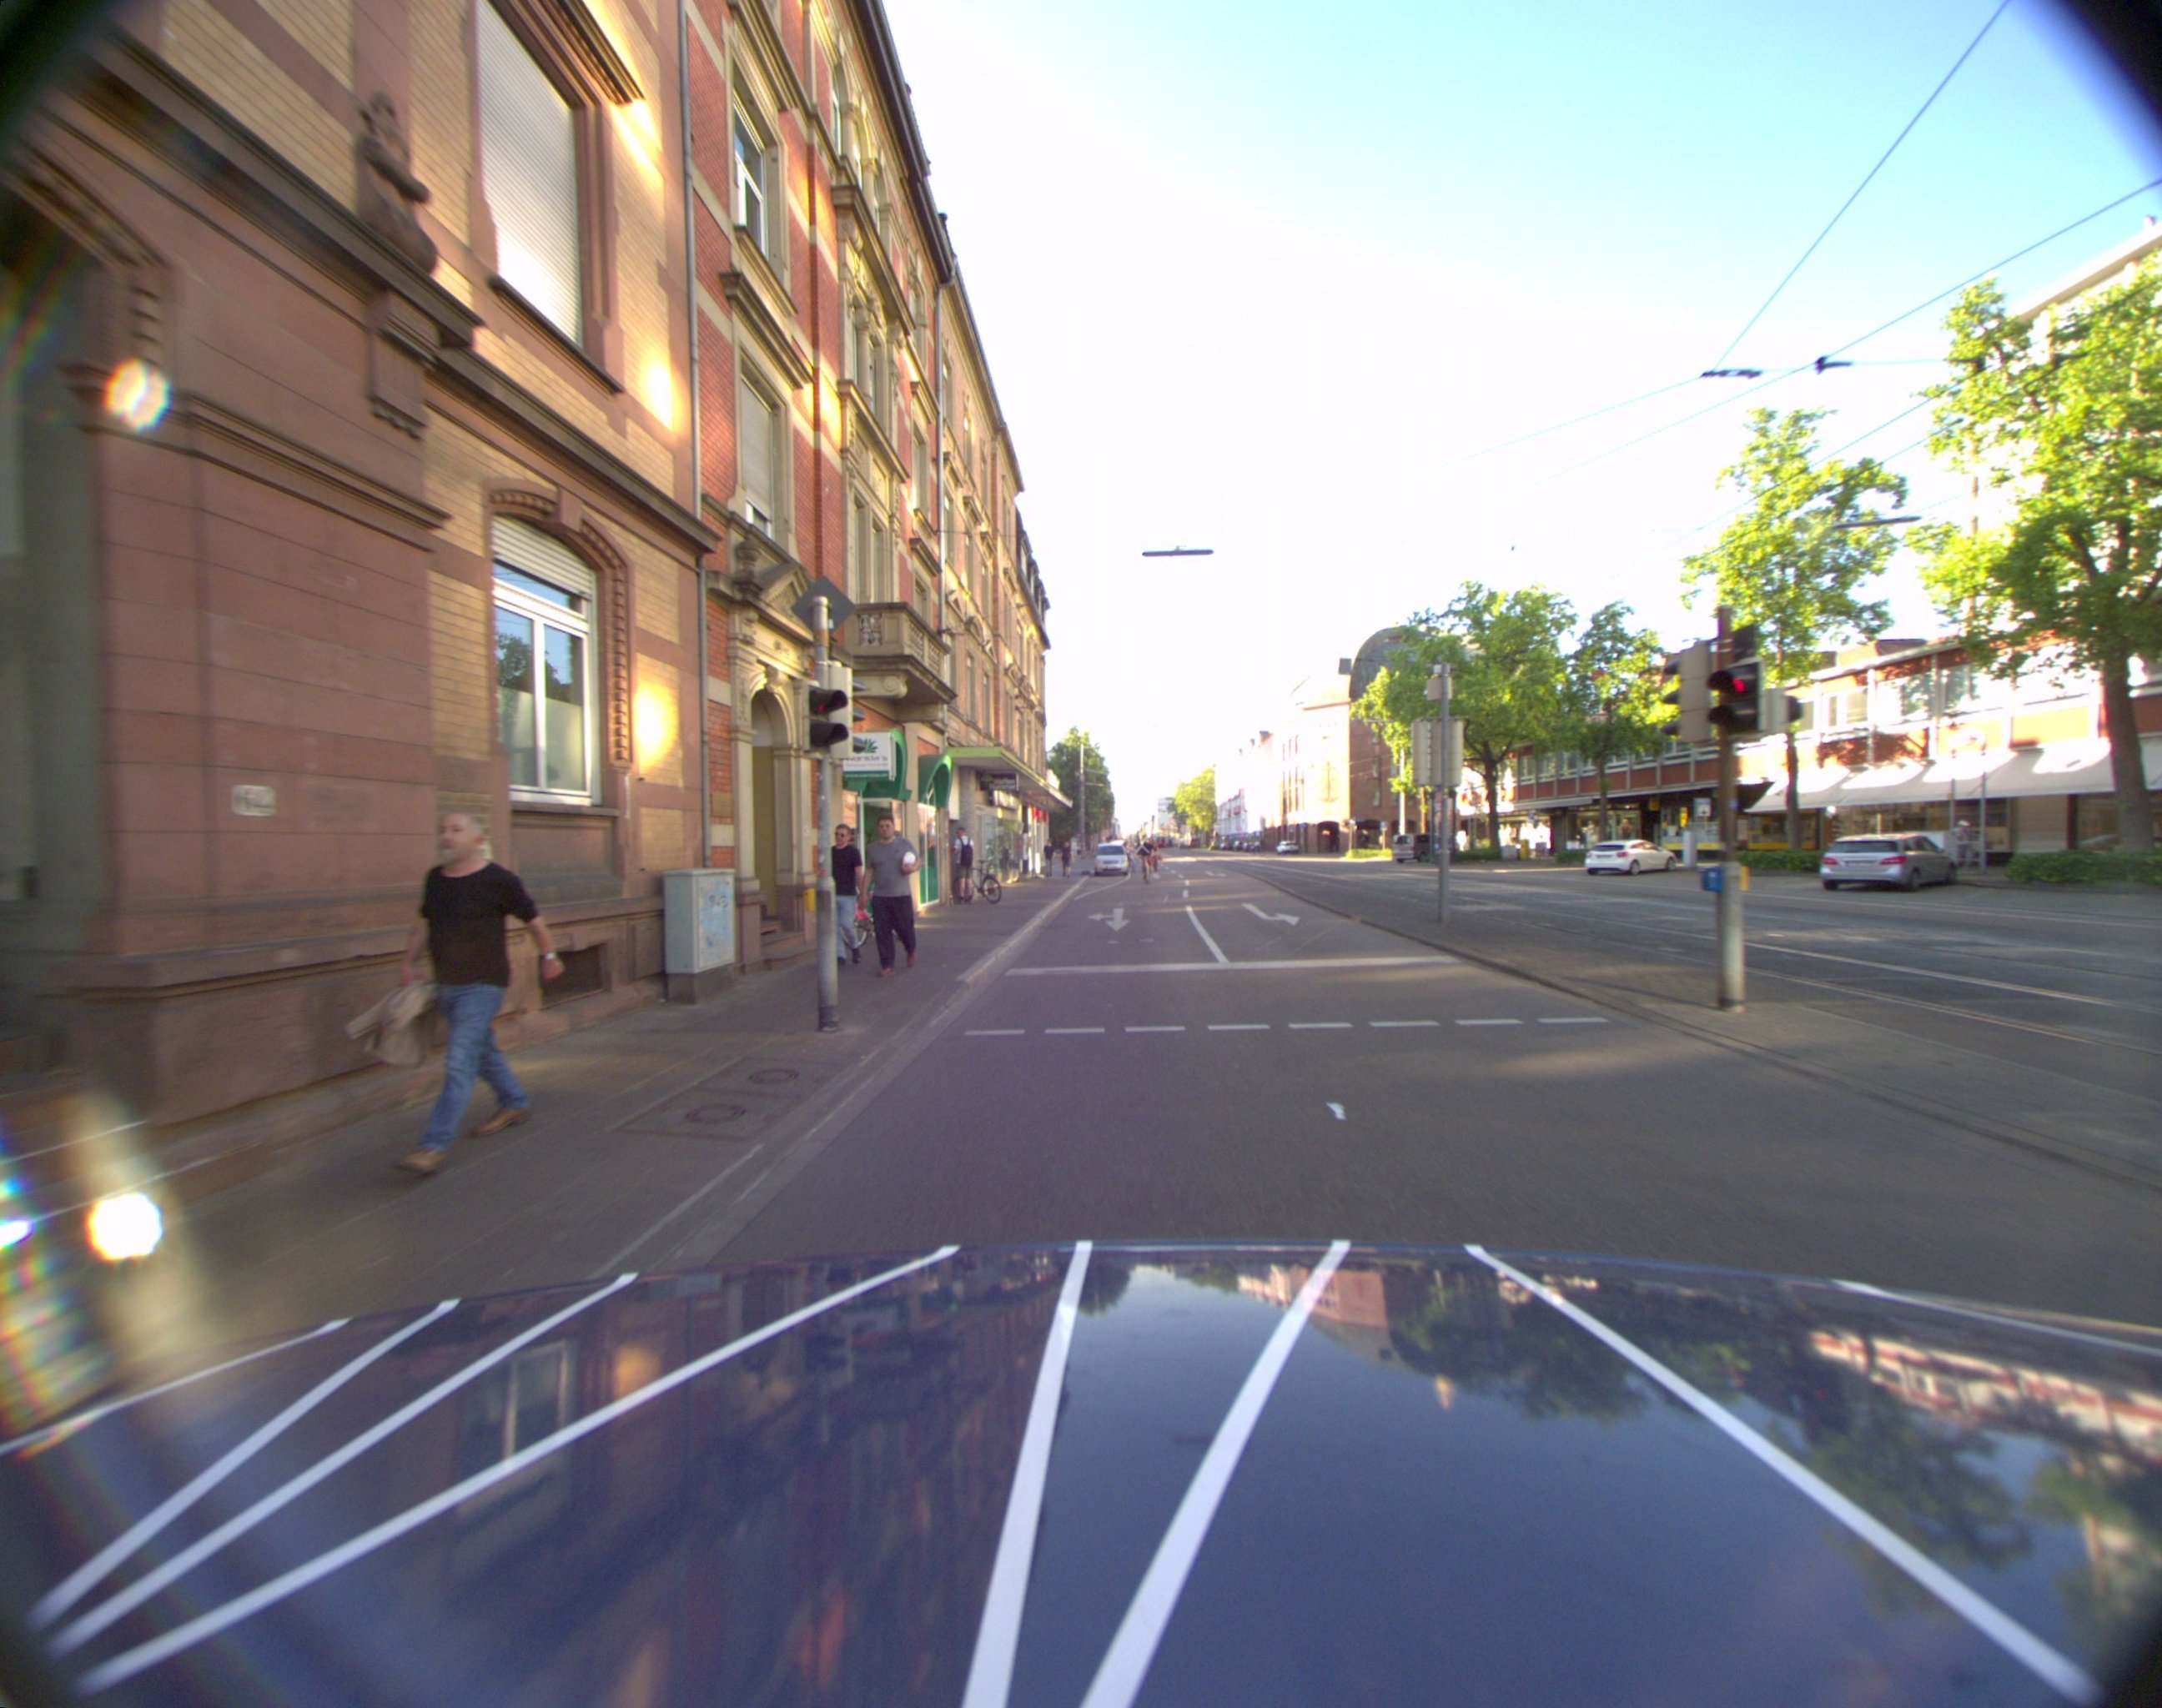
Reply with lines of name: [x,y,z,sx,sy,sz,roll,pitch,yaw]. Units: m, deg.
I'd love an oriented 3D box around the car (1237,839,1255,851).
car: [25.222,-1.396,116.377,1.964,1.594,3.999,-2,1,2]

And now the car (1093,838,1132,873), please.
car: [1.672,0.051,39.002,1.670,1.674,4.001,-1,1,7]

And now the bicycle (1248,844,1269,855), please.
bicycle: [18.184,-0.427,77.754,0.674,1.086,2.032,-2,2,-43]

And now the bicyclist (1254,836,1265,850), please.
bicyclist: [18.250,-1.093,77.657,0.674,1.414,0.761,-2,2,-43]

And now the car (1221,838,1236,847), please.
car: [27.455,-2.165,141.500,1.964,1.594,3.999,-2,1,2]

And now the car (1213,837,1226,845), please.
car: [28.704,-2.654,157.641,1.964,1.594,3.999,-2,1,2]

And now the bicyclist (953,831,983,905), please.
bicyclist: [-2.930,0.358,19.676,0.600,1.871,0.742,-1,2,-22]

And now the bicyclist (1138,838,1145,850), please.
bicyclist: [6.470,-1.073,81.170,0.646,1.176,0.723,-1,1,1]

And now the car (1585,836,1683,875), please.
car: [23.473,0.027,32.244,4.005,1.466,1.794,-3,2,-28]

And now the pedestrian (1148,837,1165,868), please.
pedestrian: [4.160,-0.084,41.828,0.849,1.652,0.850,-1,2,7]

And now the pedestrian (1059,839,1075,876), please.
pedestrian: [-0.647,0.166,35.420,0.700,1.713,0.502,1,2,5]

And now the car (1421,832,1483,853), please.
car: [35.704,-1.131,73.257,4.982,2.002,2.000,0,1,1]

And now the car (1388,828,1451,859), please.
car: [22.796,-0.714,51.147,4.006,1.953,1.907,-3,2,-31]

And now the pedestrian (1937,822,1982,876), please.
pedestrian: [28.630,-0.174,24.775,0.635,1.759,0.769,0,3,20]

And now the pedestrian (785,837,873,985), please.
pedestrian: [-3.048,0.661,9.249,0.777,1.713,0.754,1,2,4]

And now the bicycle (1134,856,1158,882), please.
bicycle: [2.575,0.575,29.940,0.885,0.949,1.766,0,1,7]

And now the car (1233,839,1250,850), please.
car: [25.926,-1.531,122.610,1.964,1.594,3.999,-2,1,2]

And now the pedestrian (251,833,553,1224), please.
pedestrian: [-3.254,0.763,3.727,0.777,1.713,0.754,1,2,4]

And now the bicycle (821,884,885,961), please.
bicycle: [-3.328,0.981,11.168,0.345,0.990,1.241,1,2,13]

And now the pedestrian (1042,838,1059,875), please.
pedestrian: [-1.454,0.123,35.825,0.700,1.713,0.681,1,2,5]

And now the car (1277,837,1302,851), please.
car: [24.350,-1.184,88.935,1.910,1.594,3.999,-2,1,2]

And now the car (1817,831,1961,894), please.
car: [22.883,0.193,21.512,4.005,1.545,1.794,-3,2,-28]

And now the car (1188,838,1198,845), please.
car: [28.479,-3.108,193.216,1.964,1.594,3.999,-2,1,2]

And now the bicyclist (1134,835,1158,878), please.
bicyclist: [2.570,0.085,29.917,0.885,1.651,0.803,0,2,6]

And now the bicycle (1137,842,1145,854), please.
bicycle: [6.412,-0.645,81.169,0.646,1.176,1.804,0,1,1]

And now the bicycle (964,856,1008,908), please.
bicycle: [-2.508,0.702,19.880,0.669,1.246,1.891,-1,1,-22]

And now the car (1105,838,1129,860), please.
car: [2.913,-0.398,60.377,1.670,1.674,4.001,-1,1,5]

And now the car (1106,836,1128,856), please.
car: [3.135,-0.709,65.797,1.670,1.674,4.001,-1,1,5]

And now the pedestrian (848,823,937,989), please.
pedestrian: [-2.221,0.588,9.043,0.823,1.884,0.754,1,2,4]
